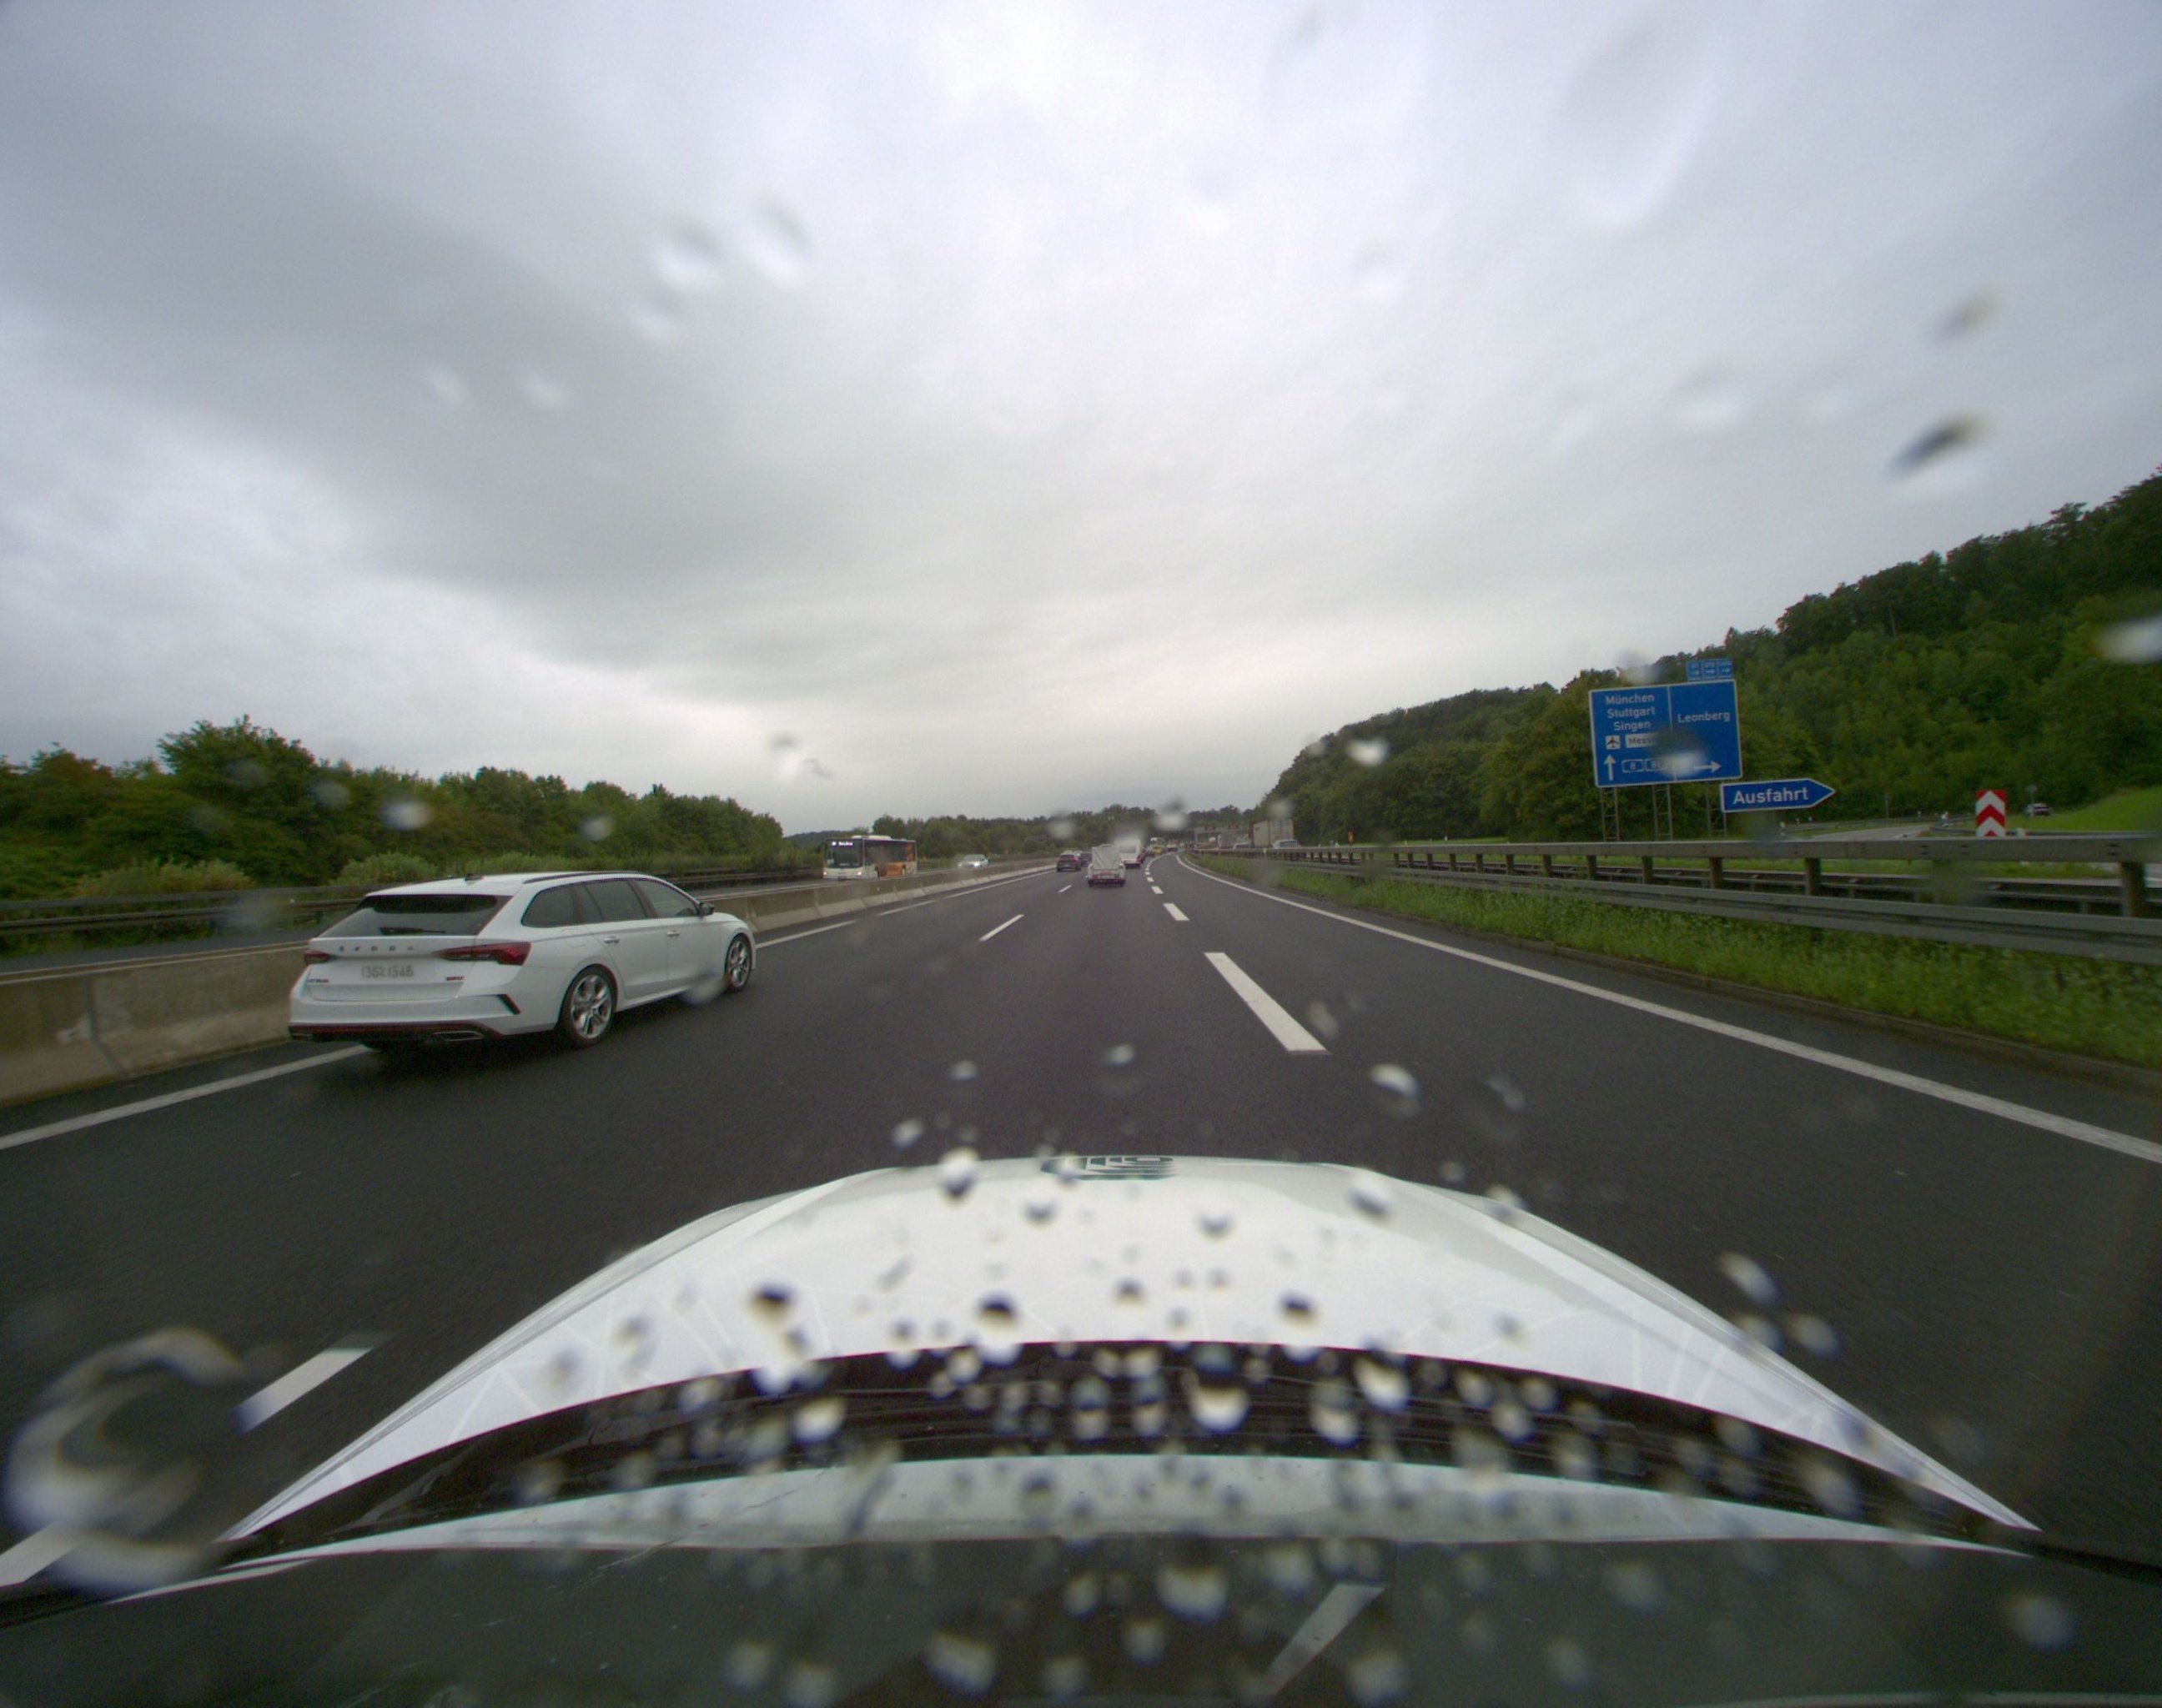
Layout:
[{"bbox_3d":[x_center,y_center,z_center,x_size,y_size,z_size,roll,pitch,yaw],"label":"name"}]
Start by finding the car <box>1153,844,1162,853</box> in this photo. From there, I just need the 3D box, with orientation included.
[{"bbox_3d":[16.301,-1.211,173.123,1.666,1.812,4.008,-2,0,7],"label":"car"}]

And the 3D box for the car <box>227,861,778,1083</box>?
[{"bbox_3d":[-4.876,0.832,7.988,1.811,1.456,4.780,-2,0,2],"label":"car"}]

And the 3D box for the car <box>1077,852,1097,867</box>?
[{"bbox_3d":[0.670,0.550,84.980,1.757,1.456,4.005,-2,0,4],"label":"car"}]

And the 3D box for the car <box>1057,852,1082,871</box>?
[{"bbox_3d":[-0.911,0.604,66.530,1.668,1.456,4.005,-2,0,4],"label":"car"}]

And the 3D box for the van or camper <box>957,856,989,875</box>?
[{"bbox_3d":[-8.691,0.920,66.108,1.741,1.447,4.589,-2,0,3],"label":"van or camper"}]

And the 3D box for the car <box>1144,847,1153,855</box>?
[{"bbox_3d":[17.839,-0.792,215.211,1.982,2.013,4.009,-2,0,8],"label":"car"}]

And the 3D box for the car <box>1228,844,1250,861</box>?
[{"bbox_3d":[16.220,-0.161,83.773,1.761,1.610,4.650,-2,0,5],"label":"car"}]

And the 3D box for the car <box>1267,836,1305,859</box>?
[{"bbox_3d":[13.698,-0.421,54.674,1.659,1.382,4.130,-4,0,4],"label":"car"}]

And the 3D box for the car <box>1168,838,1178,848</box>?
[{"bbox_3d":[25.558,-3.129,226.627,2.502,2.574,5.323,-2,0,7],"label":"car"}]

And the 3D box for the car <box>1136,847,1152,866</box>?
[{"bbox_3d":[7.282,0.310,94.611,1.669,2.067,4.002,-2,0,2],"label":"car"}]

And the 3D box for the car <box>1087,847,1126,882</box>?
[{"bbox_3d":[1.350,0.524,41.515,1.811,1.616,4.781,-2,0,3],"label":"car"}]

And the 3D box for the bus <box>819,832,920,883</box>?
[{"bbox_3d":[-13.935,0.248,55.034,2.686,2.958,11.912,-3,0,4],"label":"bus"}]

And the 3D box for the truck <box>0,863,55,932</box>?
[{"bbox_3d":[-35.861,1.447,24.630,2.020,2.241,6.153,-2,0,-3],"label":"truck"}]

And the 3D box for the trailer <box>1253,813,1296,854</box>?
[{"bbox_3d":[19.869,-1.948,84.339,2.591,3.894,12.511,-2,0,6],"label":"trailer"}]

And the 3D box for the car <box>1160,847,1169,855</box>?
[{"bbox_3d":[19.745,-0.711,193.063,2.026,1.683,4.009,-2,0,8],"label":"car"}]

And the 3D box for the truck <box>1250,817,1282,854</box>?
[{"bbox_3d":[20.532,-1.936,90.512,2.603,3.884,6.402,-2,0,6],"label":"truck"}]

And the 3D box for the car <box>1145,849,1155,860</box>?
[{"bbox_3d":[12.181,0.097,144.247,1.669,1.812,4.003,-2,0,3],"label":"car"}]

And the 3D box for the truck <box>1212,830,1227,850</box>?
[{"bbox_3d":[35.382,-3.423,207.245,3.194,4.666,13.073,-2,0,11],"label":"truck"}]

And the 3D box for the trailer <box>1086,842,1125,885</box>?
[{"bbox_3d":[1.192,0.426,37.830,1.669,1.812,4.003,-2,0,3],"label":"trailer"}]

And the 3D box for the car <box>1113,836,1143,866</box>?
[{"bbox_3d":[4.305,-0.265,73.977,2.497,2.585,5.705,-2,0,4],"label":"car"}]

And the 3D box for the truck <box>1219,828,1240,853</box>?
[{"bbox_3d":[29.266,-2.615,161.259,3.199,4.666,13.056,-2,0,7],"label":"truck"}]
